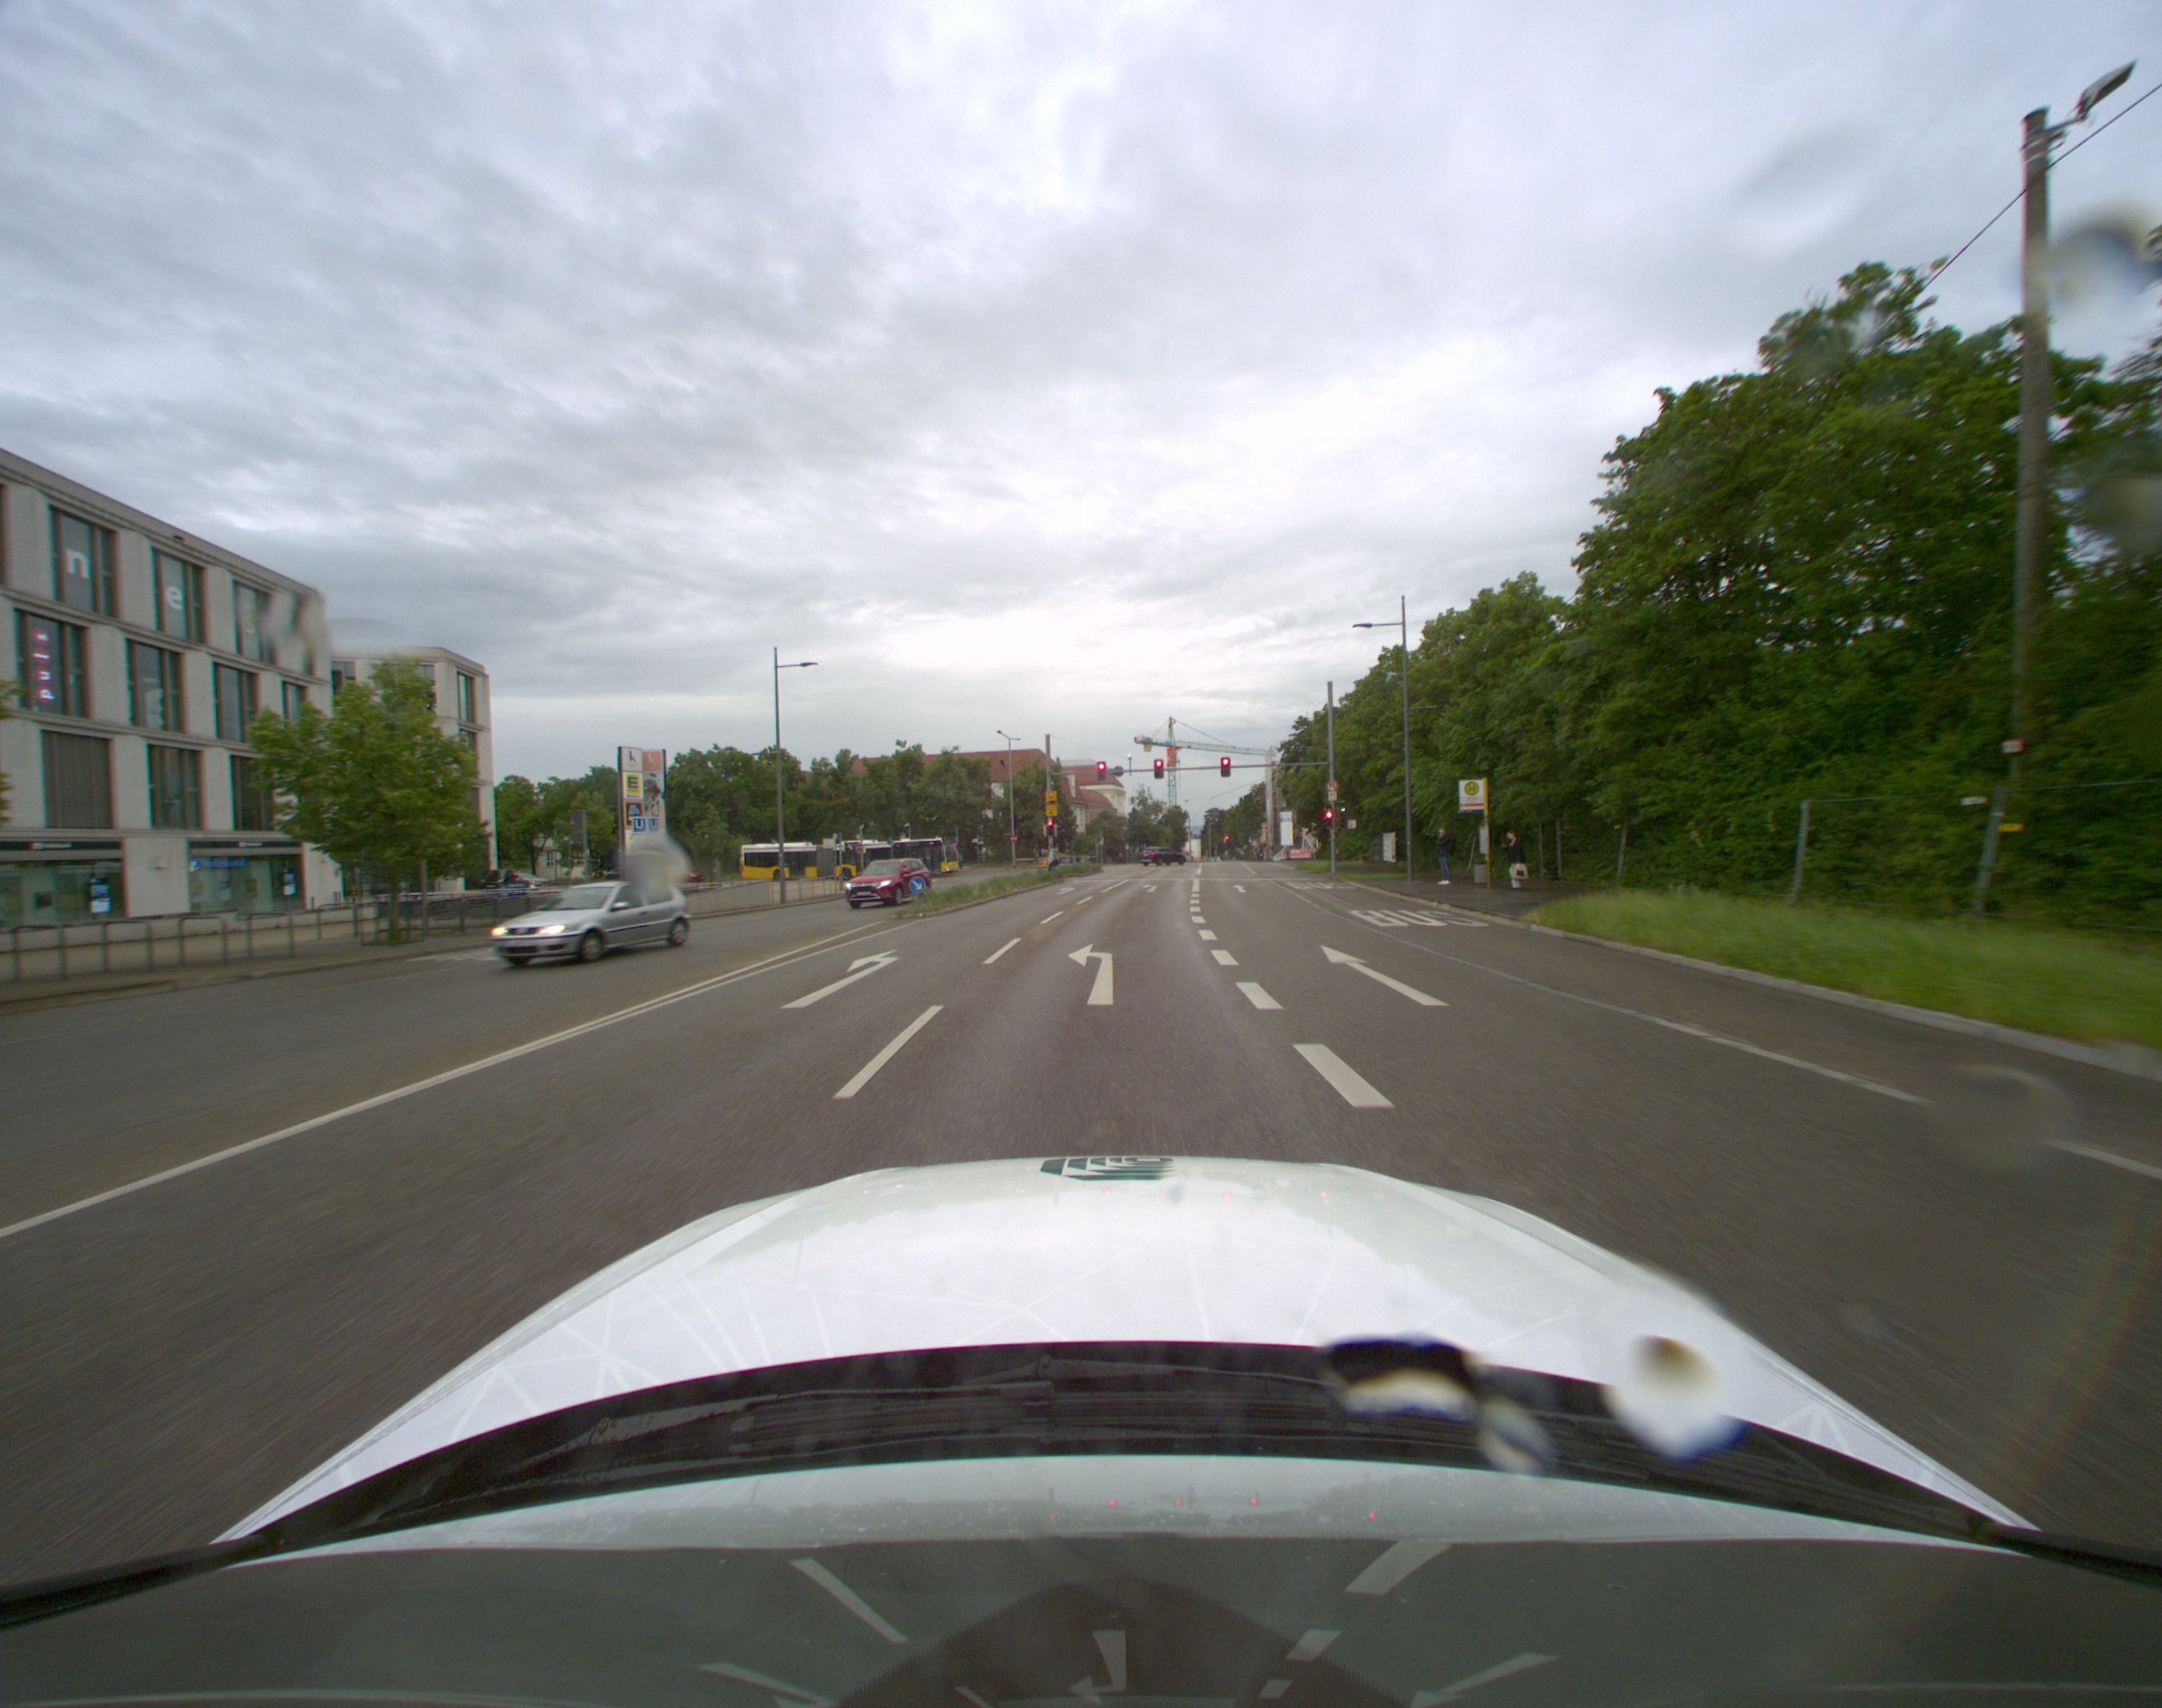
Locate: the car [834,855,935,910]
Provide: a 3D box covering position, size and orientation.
[{"bbox_3d":[-7.072,0.960,29.825,1.842,1.683,4.749,-4,0,8],"label":"car"}]

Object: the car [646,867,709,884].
[{"bbox_3d":[-35.513,1.876,71.765,4.547,1.425,2.004,0,-1,8],"label":"car"}]

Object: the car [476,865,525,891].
[{"bbox_3d":[-41.592,1.702,58.408,1.779,1.731,3.974,-2,0,-19],"label":"car"}]

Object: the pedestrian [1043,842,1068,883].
[{"bbox_3d":[-1.329,0.441,42.249,0.933,2.013,0.850,-4,-1,14],"label":"pedestrian"}]

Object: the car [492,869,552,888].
[{"bbox_3d":[-45.843,1.971,66.819,3.946,1.425,1.672,-1,0,7],"label":"car"}]

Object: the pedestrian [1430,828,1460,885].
[{"bbox_3d":[12.377,0.076,27.709,0.638,1.901,0.719,-2,0,3],"label":"pedestrian"}]

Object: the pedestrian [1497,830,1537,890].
[{"bbox_3d":[12.338,0.168,23.061,0.673,1.658,0.793,-2,0,3],"label":"pedestrian"}]

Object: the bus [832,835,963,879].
[{"bbox_3d":[-14.511,0.218,64.485,9.653,3.103,2.909,-2,0,14],"label":"bus"}]

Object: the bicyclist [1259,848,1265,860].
[{"bbox_3d":[24.678,-0.022,111.088,0.716,1.564,1.146,0,-1,10],"label":"bicyclist"}]

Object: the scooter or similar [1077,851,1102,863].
[{"bbox_3d":[1.070,0.397,102.581,3.071,1.440,0.950,-2,0,6],"label":"scooter or similar"}]

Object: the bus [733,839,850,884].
[{"bbox_3d":[-23.545,0.608,66.402,8.494,3.307,2.906,-2,0,10],"label":"bus"}]

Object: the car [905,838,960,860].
[{"bbox_3d":[-12.297,-0.397,67.498,3.961,1.706,2.006,0,-1,11],"label":"car"}]

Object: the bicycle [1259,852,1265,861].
[{"bbox_3d":[24.689,0.372,111.112,0.716,1.193,1.760,0,-1,10],"label":"bicycle"}]

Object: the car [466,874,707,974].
[{"bbox_3d":[-9.160,1.224,15.520,1.752,1.416,3.888,-4,0,8],"label":"car"}]

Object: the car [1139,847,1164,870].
[{"bbox_3d":[6.320,0.423,72.839,1.933,2.021,4.561,0,-1,8],"label":"car"}]
